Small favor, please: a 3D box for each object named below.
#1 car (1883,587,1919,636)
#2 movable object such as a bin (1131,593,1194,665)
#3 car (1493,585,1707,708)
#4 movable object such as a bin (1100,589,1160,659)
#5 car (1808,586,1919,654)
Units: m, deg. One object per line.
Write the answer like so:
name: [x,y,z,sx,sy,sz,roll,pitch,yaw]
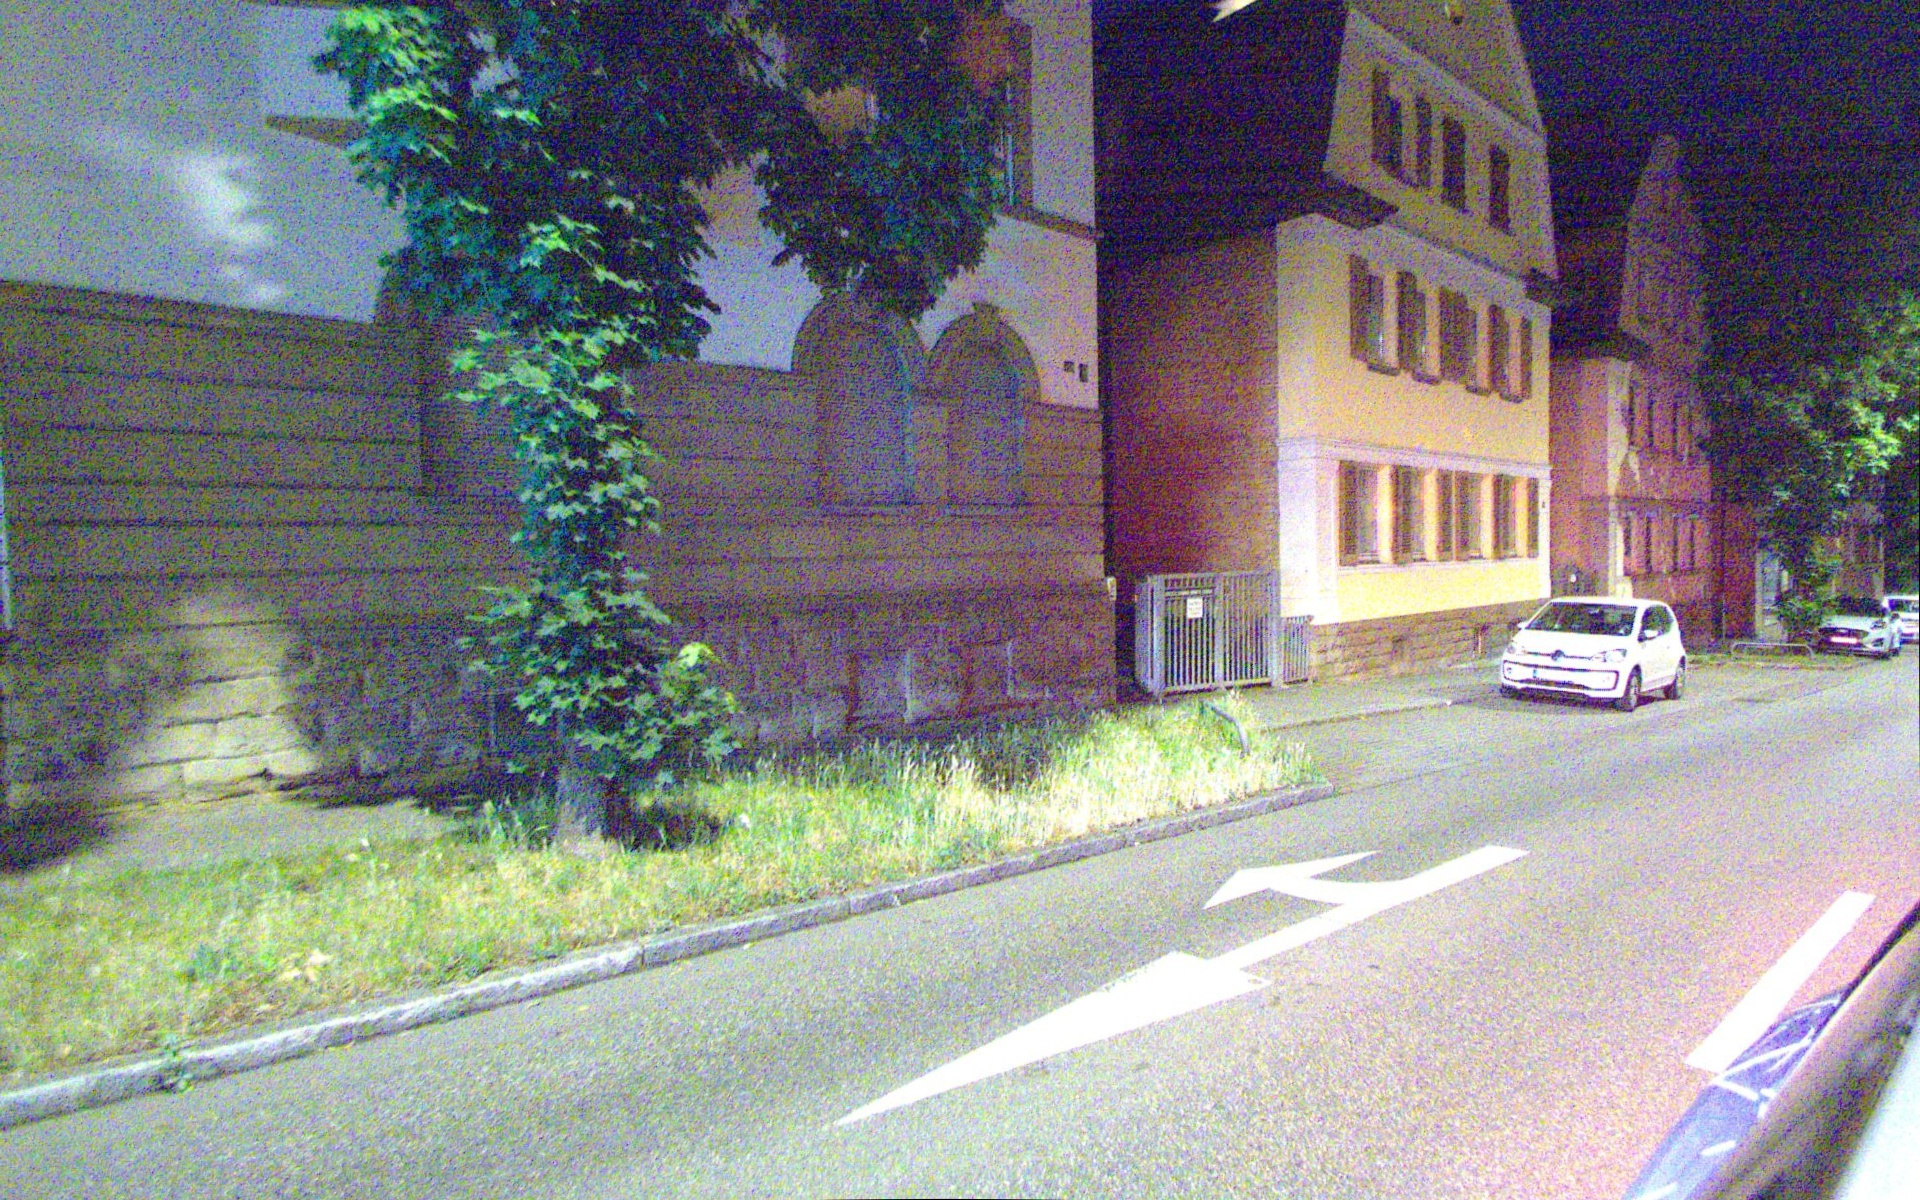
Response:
car: [33.790,0.391,35.343,4.281,1.616,1.742,0,3,-40]
movable object such as a bin: [3.083,0.425,15.400,0.742,1.062,0.608,0,0,-41]
car: [9.323,0.579,14.653,3.541,1.503,1.671,0,2,-42]
movable object such as a bin: [2.672,0.362,15.885,0.742,1.062,0.608,0,0,-41]
car: [23.807,0.472,26.573,3.977,1.572,1.862,0,3,-43]
